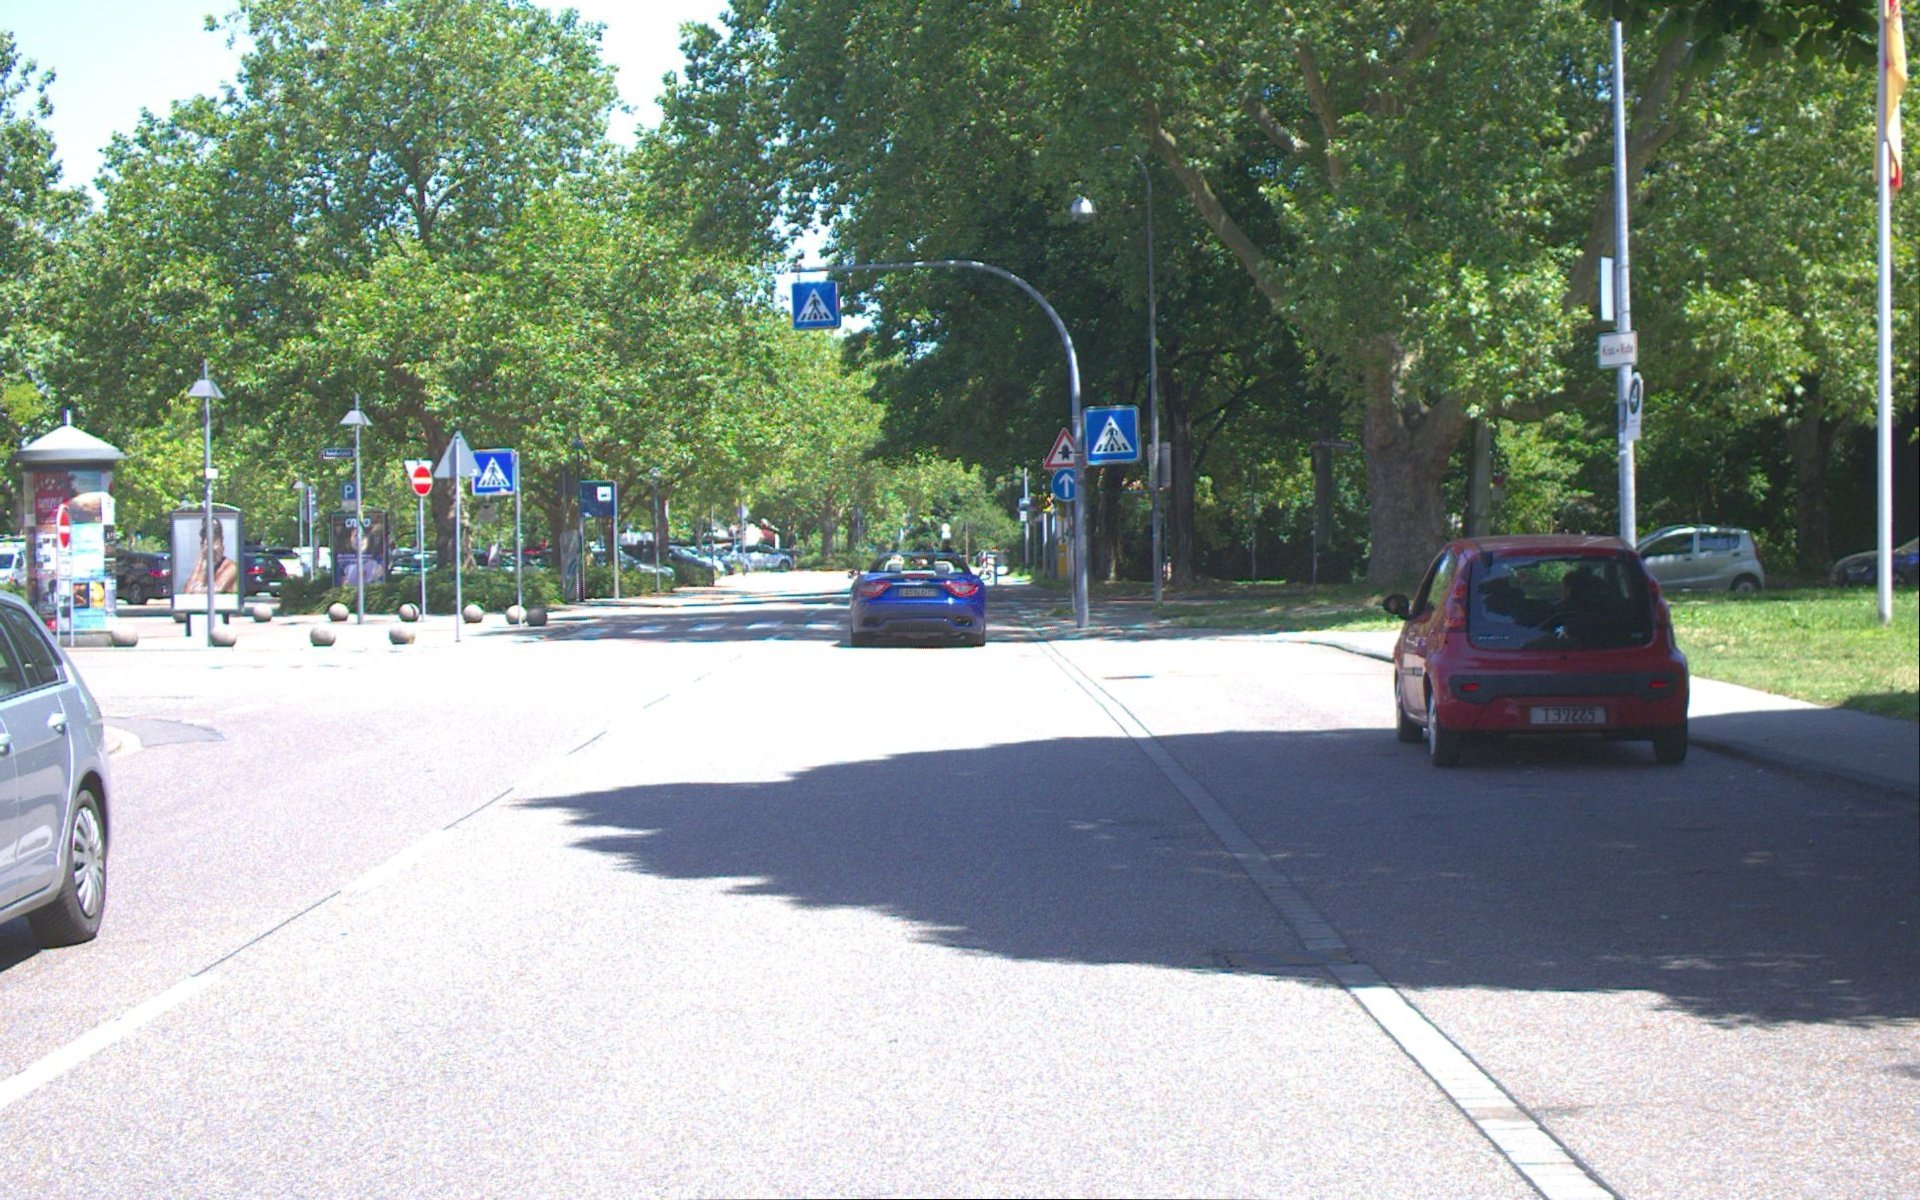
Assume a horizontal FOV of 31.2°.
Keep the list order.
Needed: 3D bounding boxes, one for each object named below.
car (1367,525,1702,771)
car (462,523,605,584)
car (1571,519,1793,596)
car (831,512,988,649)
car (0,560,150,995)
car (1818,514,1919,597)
[{"bbox_3d":[3.743,0.267,22.926,1.719,1.473,3.706,-1,1,2],"label":"car"},{"bbox_3d":[-12.976,-1.421,104.461,3.986,1.775,2.001,-1,1,-18],"label":"car"},{"bbox_3d":[14.593,-0.873,69.667,4.105,1.461,2.000,-1,1,3],"label":"car"},{"bbox_3d":[-0.761,-0.290,48.786,2.125,1.842,4.048,0,1,-2],"label":"car"},{"bbox_3d":[-4.190,0.654,11.745,1.815,1.439,4.159,-2,2,0],"label":"car"},{"bbox_3d":[19.905,-0.931,69.191,4.824,1.602,2.000,-1,1,4],"label":"car"}]
